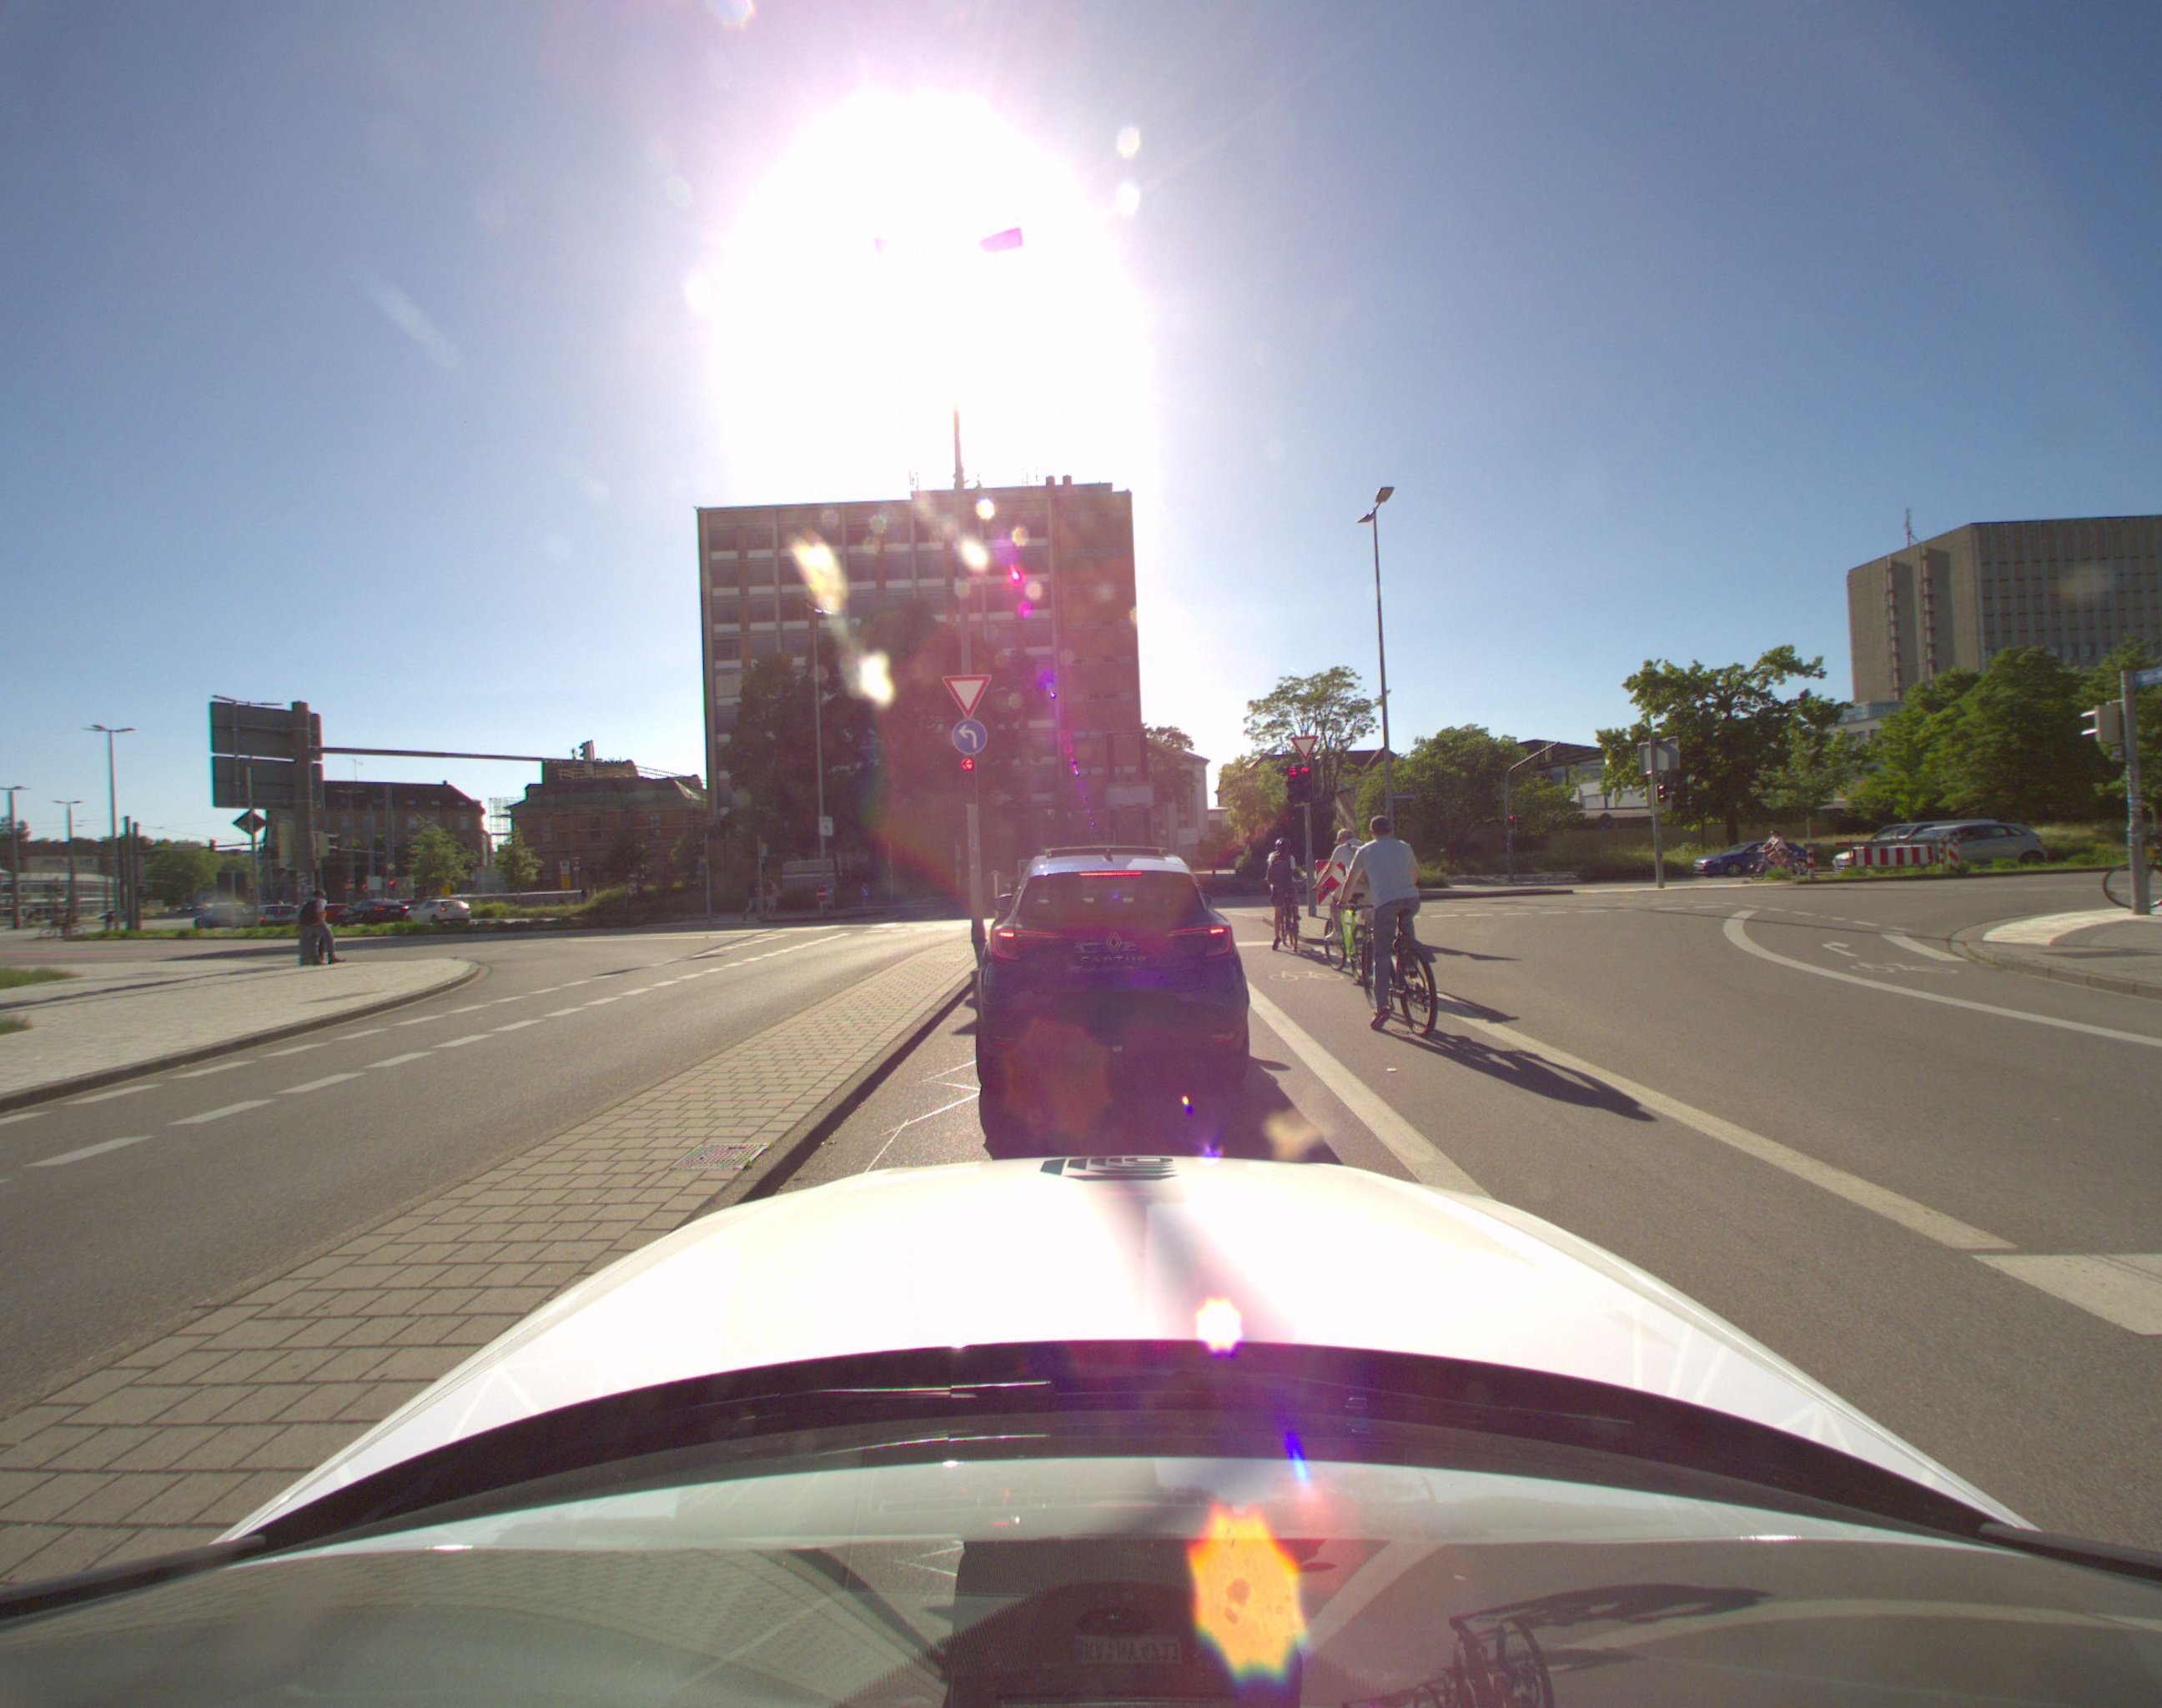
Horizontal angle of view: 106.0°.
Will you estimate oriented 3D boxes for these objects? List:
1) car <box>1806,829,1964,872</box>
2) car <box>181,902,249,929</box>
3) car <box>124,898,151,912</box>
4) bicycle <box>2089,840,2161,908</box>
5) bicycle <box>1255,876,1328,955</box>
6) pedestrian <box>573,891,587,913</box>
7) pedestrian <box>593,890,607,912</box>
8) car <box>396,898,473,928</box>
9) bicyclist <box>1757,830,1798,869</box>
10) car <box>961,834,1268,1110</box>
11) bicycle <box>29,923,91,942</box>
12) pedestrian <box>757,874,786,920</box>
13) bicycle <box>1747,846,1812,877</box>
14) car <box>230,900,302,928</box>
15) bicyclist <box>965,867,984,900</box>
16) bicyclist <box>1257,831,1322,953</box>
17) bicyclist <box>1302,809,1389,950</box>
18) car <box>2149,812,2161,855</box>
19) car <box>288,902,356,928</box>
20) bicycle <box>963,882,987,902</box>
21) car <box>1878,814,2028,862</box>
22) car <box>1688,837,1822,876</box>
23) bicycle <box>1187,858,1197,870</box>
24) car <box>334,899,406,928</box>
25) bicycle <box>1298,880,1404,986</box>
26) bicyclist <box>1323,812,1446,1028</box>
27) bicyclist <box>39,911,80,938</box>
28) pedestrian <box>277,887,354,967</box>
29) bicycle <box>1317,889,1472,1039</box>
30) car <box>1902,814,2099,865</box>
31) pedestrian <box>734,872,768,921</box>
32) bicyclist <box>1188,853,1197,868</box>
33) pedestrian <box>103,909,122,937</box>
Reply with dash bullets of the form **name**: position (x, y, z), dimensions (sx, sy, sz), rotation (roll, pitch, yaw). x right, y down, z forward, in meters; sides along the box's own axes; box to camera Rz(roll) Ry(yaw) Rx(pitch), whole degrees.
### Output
- **car**: position (30.300, -0.135, 30.796), dimensions (3.965, 1.398, 1.798), rotation (-3, -1, 7)
- **car**: position (-54.909, 3.893, 51.639), dimensions (3.834, 1.508, 1.805), rotation (-3, -1, 25)
- **car**: position (-153.191, 8.267, 132.281), dimensions (2.008, 2.014, 3.956), rotation (0, -1, -35)
- **bicycle**: position (15.919, 0.269, 11.629), dimensions (0.640, 0.958, 1.866), rotation (-2, -1, -39)
- **bicycle**: position (3.269, 0.921, 12.830), dimensions (0.687, 1.089, 1.923), rotation (-1, 0, 2)
- **pedestrian**: position (-40.424, 3.863, 65.725), dimensions (0.680, 1.730, 0.759), rotation (-2, -1, -7)
- **pedestrian**: position (-39.674, 3.857, 67.184), dimensions (0.678, 1.730, 0.761), rotation (-2, -1, -1)
- **car**: position (-36.391, 3.337, 45.838), dimensions (3.834, 1.508, 1.805), rotation (-3, -1, 25)
- **bicyclist**: position (24.757, -0.165, 28.967), dimensions (0.870, 1.343, 0.612), rotation (-2, -1, 7)
- **car**: position (0.202, 0.706, 6.769), dimensions (1.783, 1.585, 3.913), rotation (-1, 0, 0)
- **bicycle**: position (-65.784, 5.045, 52.501), dimensions (0.800, 1.062, 2.434), rotation (-1, -1, 43)
- **pedestrian**: position (-12.155, 1.687, 31.954), dimensions (0.675, 1.730, 0.764), rotation (-3, -1, 15)
- **bicycle**: position (24.808, 0.275, 28.956), dimensions (1.673, 1.033, 0.612), rotation (-2, -1, 7)
- **car**: position (-48.860, 3.605, 48.807), dimensions (3.834, 1.508, 1.805), rotation (-3, -1, 25)
- **bicyclist**: position (-5.758, 1.579, 44.074), dimensions (0.751, 1.716, 1.001), rotation (-2, -1, 7)
- **bicyclist**: position (3.214, 0.560, 12.640), dimensions (0.697, 1.791, 1.142), rotation (-1, -1, 2)
- **bicyclist**: position (3.185, 0.296, 9.888), dimensions (0.676, 1.594, 1.142), rotation (-1, -1, 2)
- **car**: position (36.905, -0.762, 25.334), dimensions (4.534, 1.398, 1.798), rotation (-3, -1, 7)
- **car**: position (-48.203, 3.871, 51.712), dimensions (3.834, 1.508, 1.805), rotation (-3, -1, 25)
- **bicycle**: position (-5.723, 2.044, 44.174), dimensions (0.751, 0.985, 2.098), rotation (-2, 0, 8)
- **car**: position (35.875, -0.617, 33.610), dimensions (3.965, 1.749, 1.798), rotation (-3, -1, 7)
- **car**: position (28.139, 0.106, 34.110), dimensions (3.965, 1.398, 1.798), rotation (-3, -1, 7)
- **bicycle**: position (11.326, 1.027, 82.825), dimensions (0.692, 1.140, 2.441), rotation (-2, 0, 1)
- **car**: position (-42.547, 3.564, 48.743), dimensions (3.834, 1.508, 1.805), rotation (-3, -1, 25)
- **bicycle**: position (3.207, 0.891, 9.863), dimensions (0.687, 1.089, 1.923), rotation (-1, 0, 2)
- **bicyclist**: position (2.713, 0.555, 7.400), dimensions (0.680, 1.791, 1.142), rotation (-1, -1, 2)
- **bicyclist**: position (-65.803, 4.536, 52.485), dimensions (0.800, 1.634, 1.585), rotation (-1, -1, 42)
- **pedestrian**: position (-17.741, 1.674, 18.895), dimensions (0.647, 1.730, 1.066), rotation (-3, -1, 15)
- **bicycle**: position (2.726, 0.900, 7.332), dimensions (0.687, 1.089, 1.923), rotation (-1, 0, 2)
- **car**: position (29.225, -0.433, 26.004), dimensions (3.965, 1.398, 1.798), rotation (-3, -1, 7)
- **pedestrian**: position (-13.027, 1.654, 32.170), dimensions (0.807, 1.862, 0.913), rotation (-3, -1, 15)
- **bicyclist**: position (11.318, 0.614, 82.702), dimensions (0.692, 1.481, 0.717), rotation (-2, -1, 1)
- **pedestrian**: position (-63.154, 4.487, 53.096), dimensions (0.696, 1.762, 0.782), rotation (-3, -1, 40)
